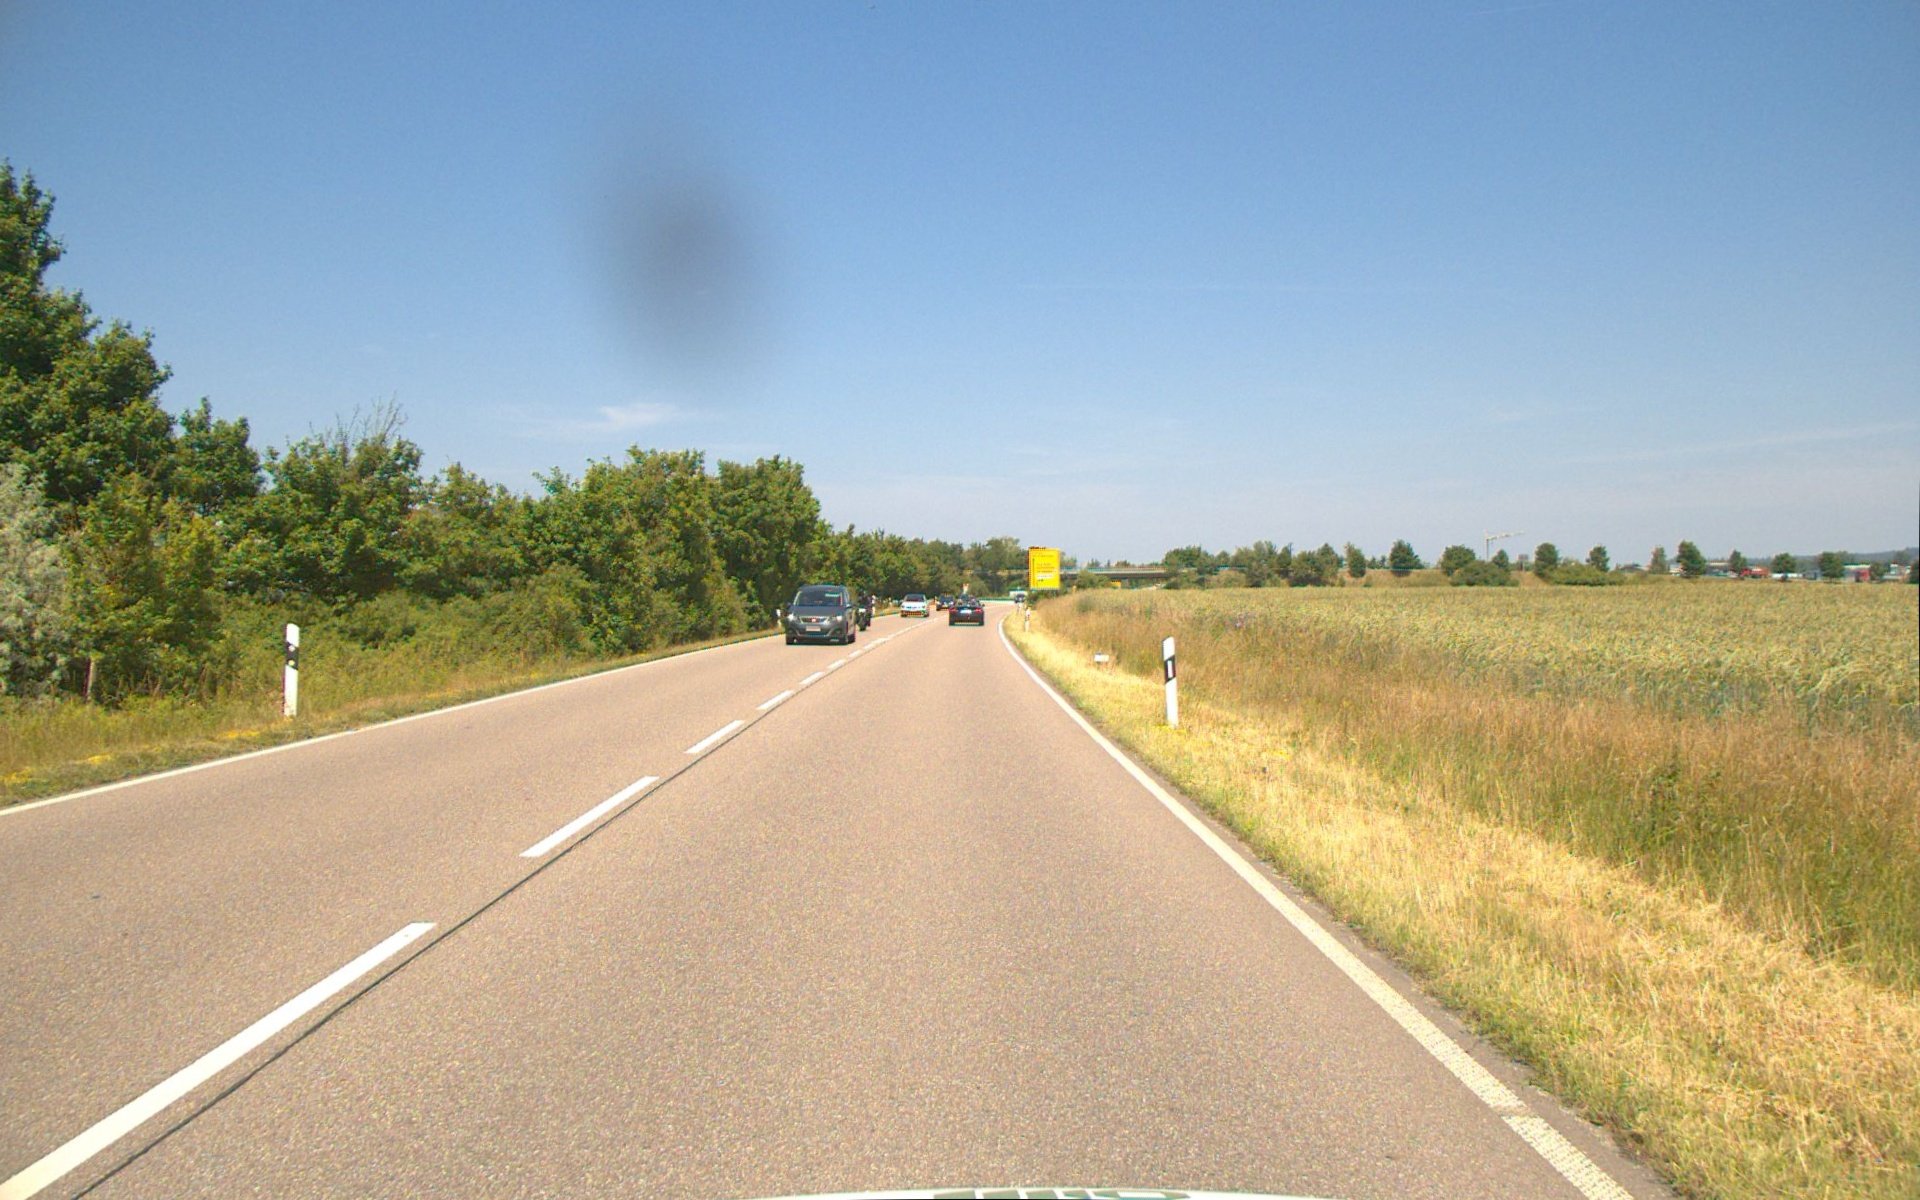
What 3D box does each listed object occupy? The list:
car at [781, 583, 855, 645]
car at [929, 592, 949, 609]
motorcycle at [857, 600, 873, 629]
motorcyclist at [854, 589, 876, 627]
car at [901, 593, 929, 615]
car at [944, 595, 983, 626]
[{"bbox_3d":[-4.169,0.381,49.208,1.781,1.731,5.001,0,0,0],"label":"car"},{"bbox_3d":[-1.855,0.060,145.975,1.564,1.467,4.000,1,0,1],"label":"car"},{"bbox_3d":[-3.887,0.578,67.502,0.604,1.128,2.021,0,0,-2],"label":"motorcycle"},{"bbox_3d":[-3.869,0.320,67.397,0.818,1.500,1.817,0,0,-2],"label":"motorcyclist"},{"bbox_3d":[-2.875,0.246,107.308,1.672,1.405,3.819,1,0,0],"label":"car"},{"bbox_3d":[0.214,0.504,81.944,1.776,1.466,4.001,1,0,2],"label":"car"}]
